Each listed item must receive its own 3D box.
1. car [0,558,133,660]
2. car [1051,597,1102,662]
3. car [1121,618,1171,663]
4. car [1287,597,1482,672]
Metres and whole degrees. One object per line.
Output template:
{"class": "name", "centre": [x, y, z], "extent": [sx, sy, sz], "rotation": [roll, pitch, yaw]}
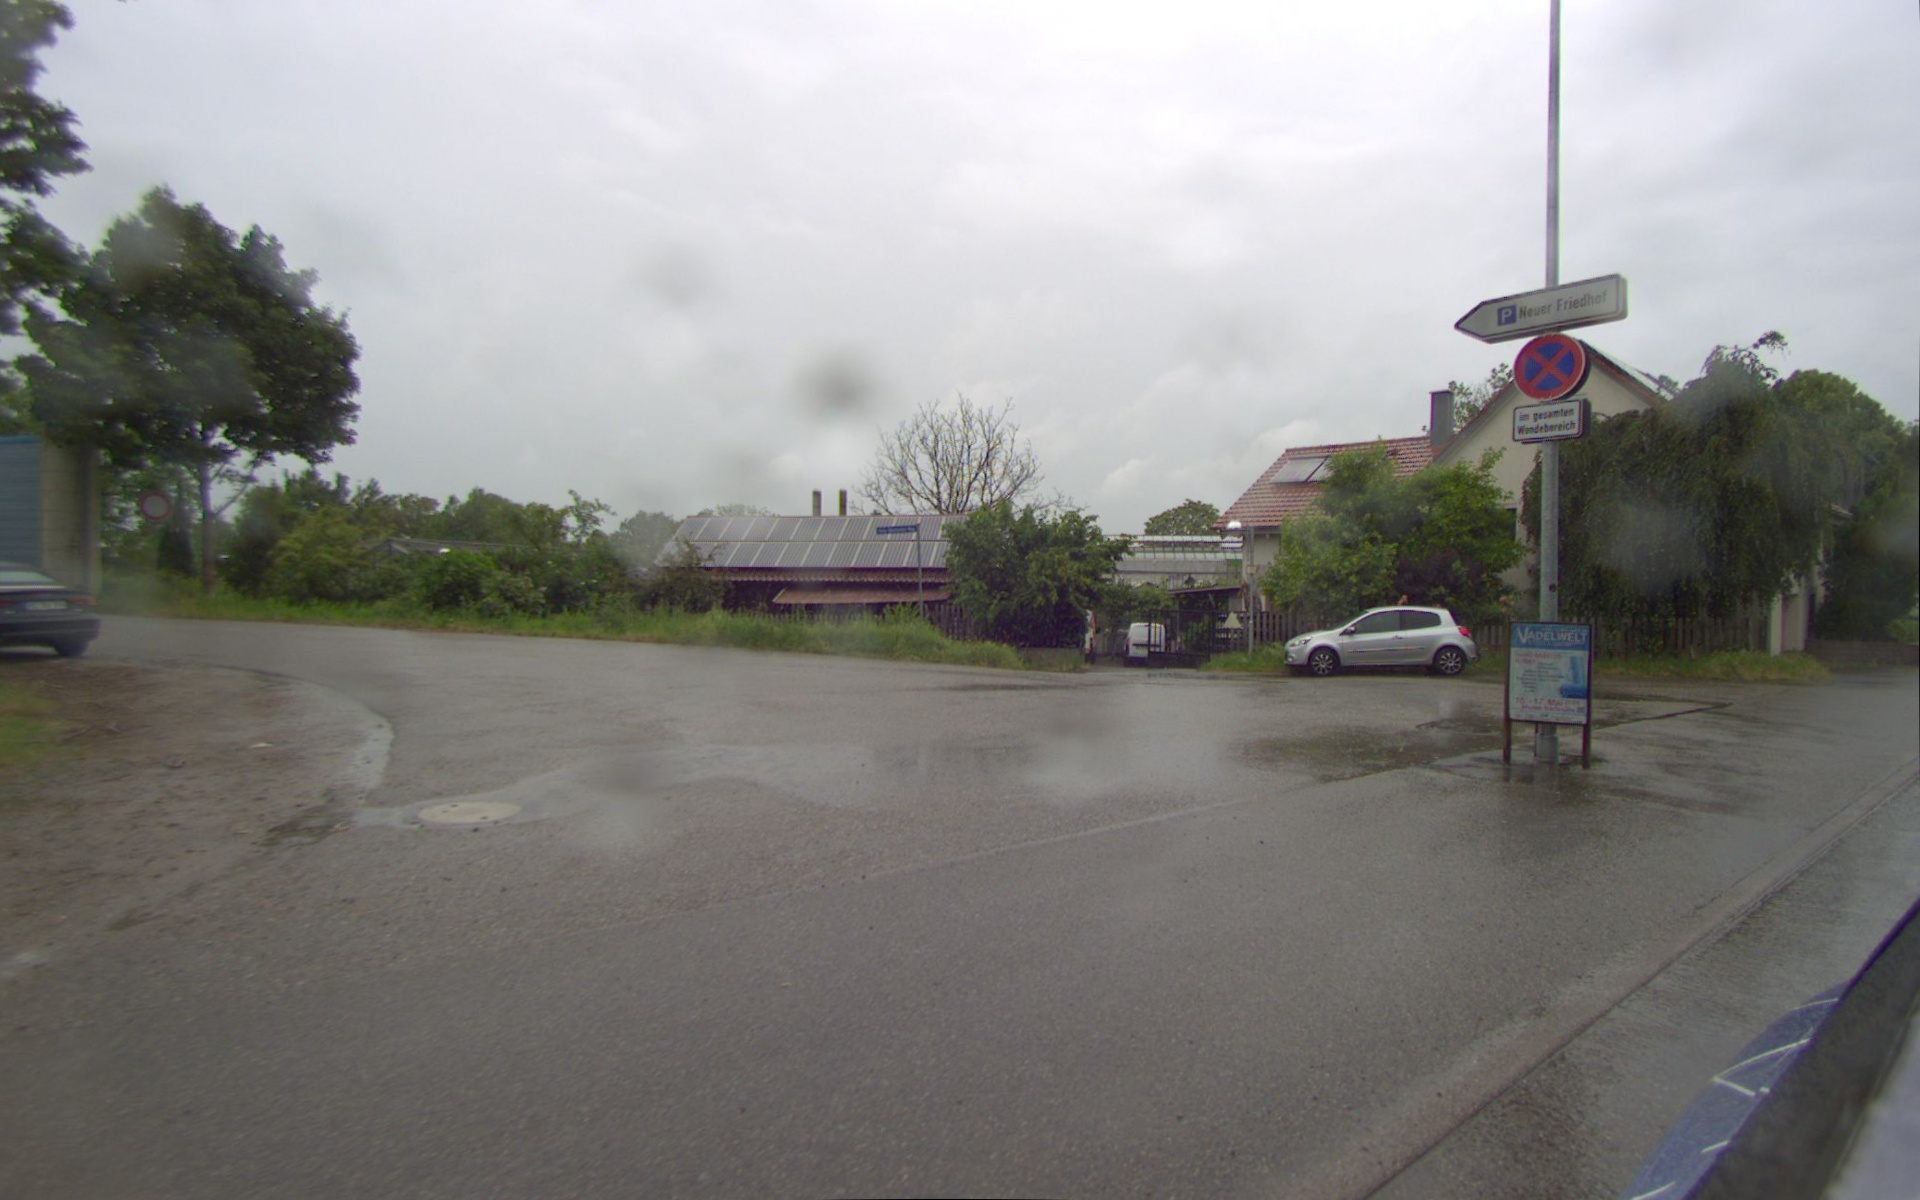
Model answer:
{"class": "car", "centre": [-14.595, 0.139, 15.144], "extent": [4.068, 1.376, 1.889], "rotation": [-1, 0, 25]}
{"class": "car", "centre": [4.901, 1.162, 42.485], "extent": [1.966, 2.543, 3.991], "rotation": [1, 0, 7]}
{"class": "car", "centre": [7.666, 1.653, 42.061], "extent": [1.901, 1.705, 3.990], "rotation": [-1, 0, 9]}
{"class": "car", "centre": [9.278, 0.741, 22.441], "extent": [3.804, 1.551, 1.710], "rotation": [-1, 0, 18]}
